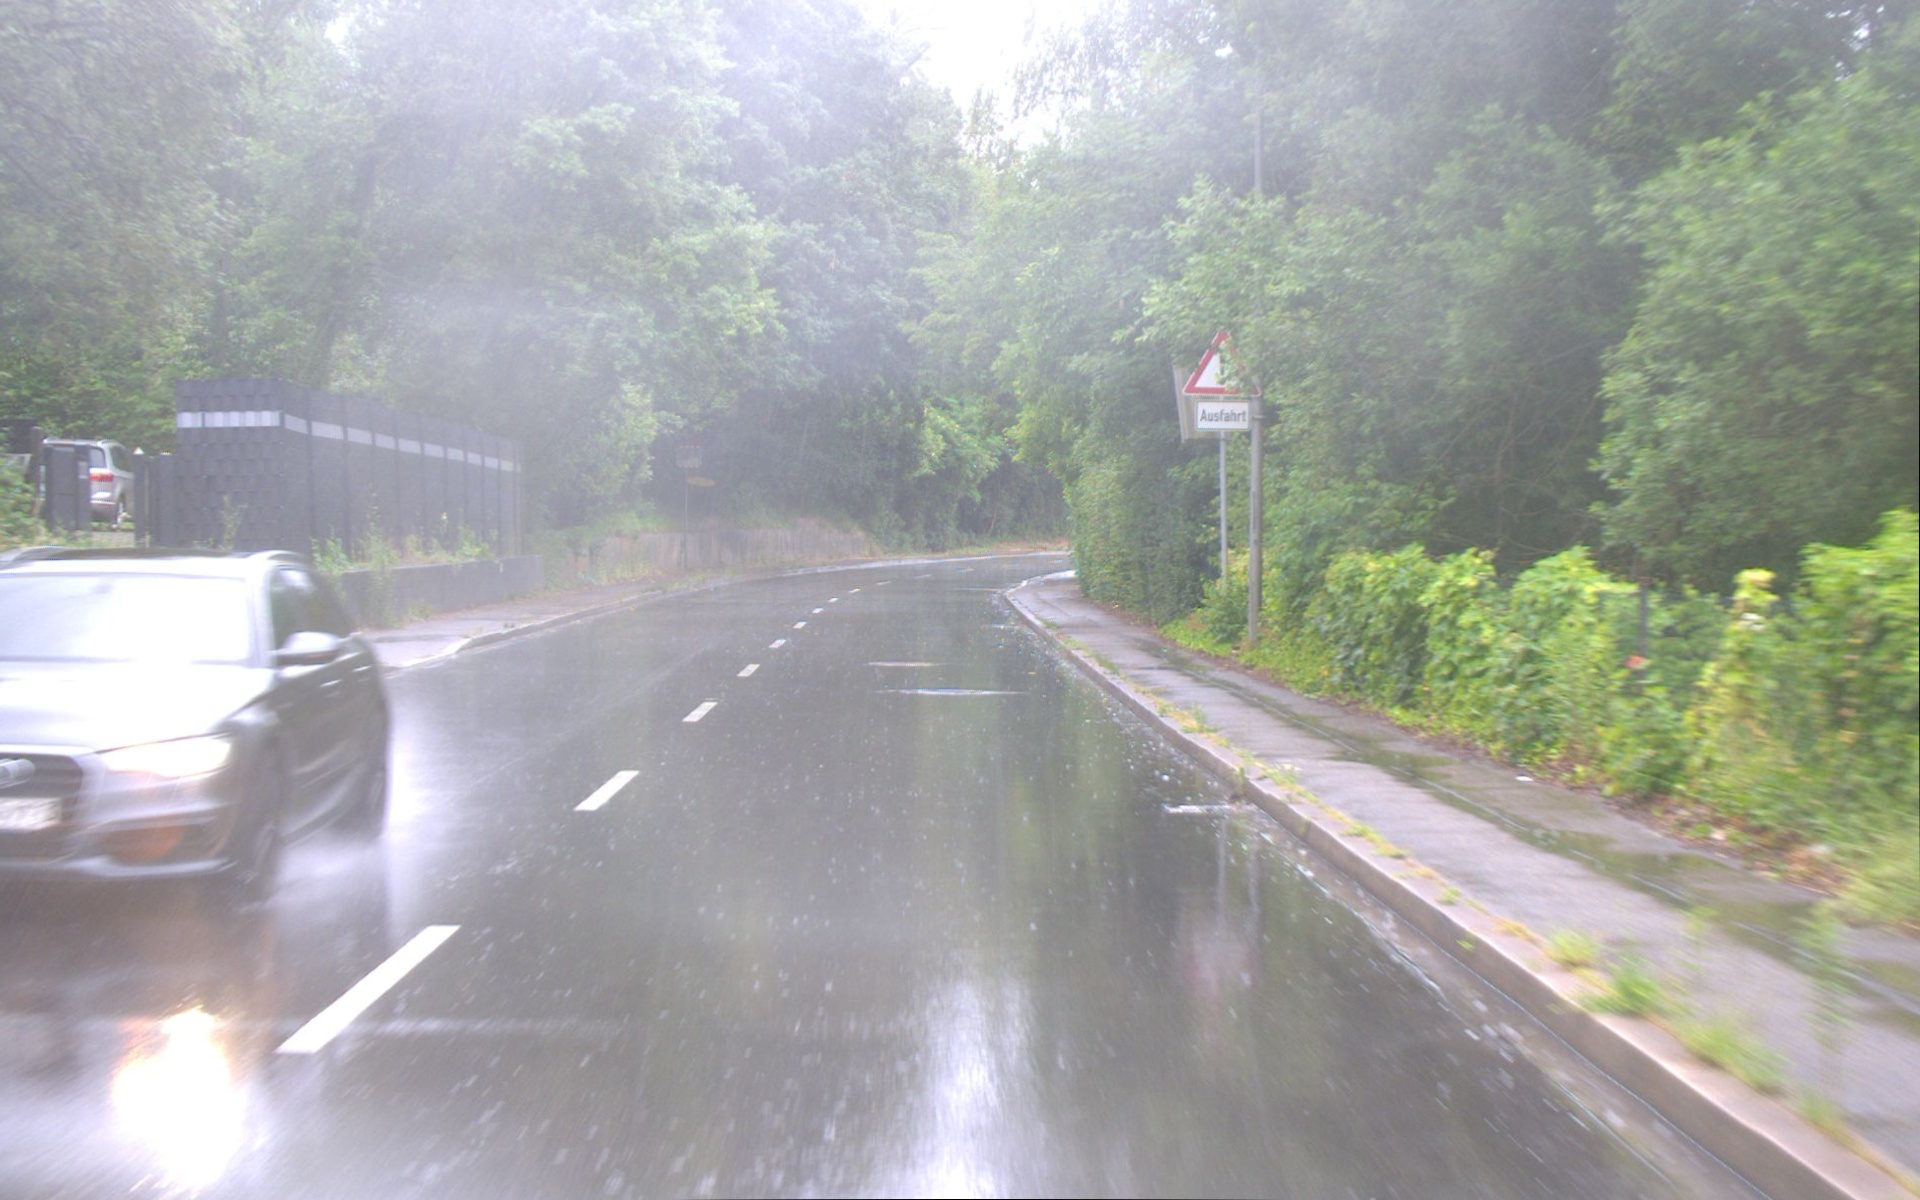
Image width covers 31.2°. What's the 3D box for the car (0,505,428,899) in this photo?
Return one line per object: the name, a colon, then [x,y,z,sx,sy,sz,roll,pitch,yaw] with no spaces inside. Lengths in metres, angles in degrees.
car: [-3.692,0.330,15.283,1.993,1.449,4.428,1,2,-1]
